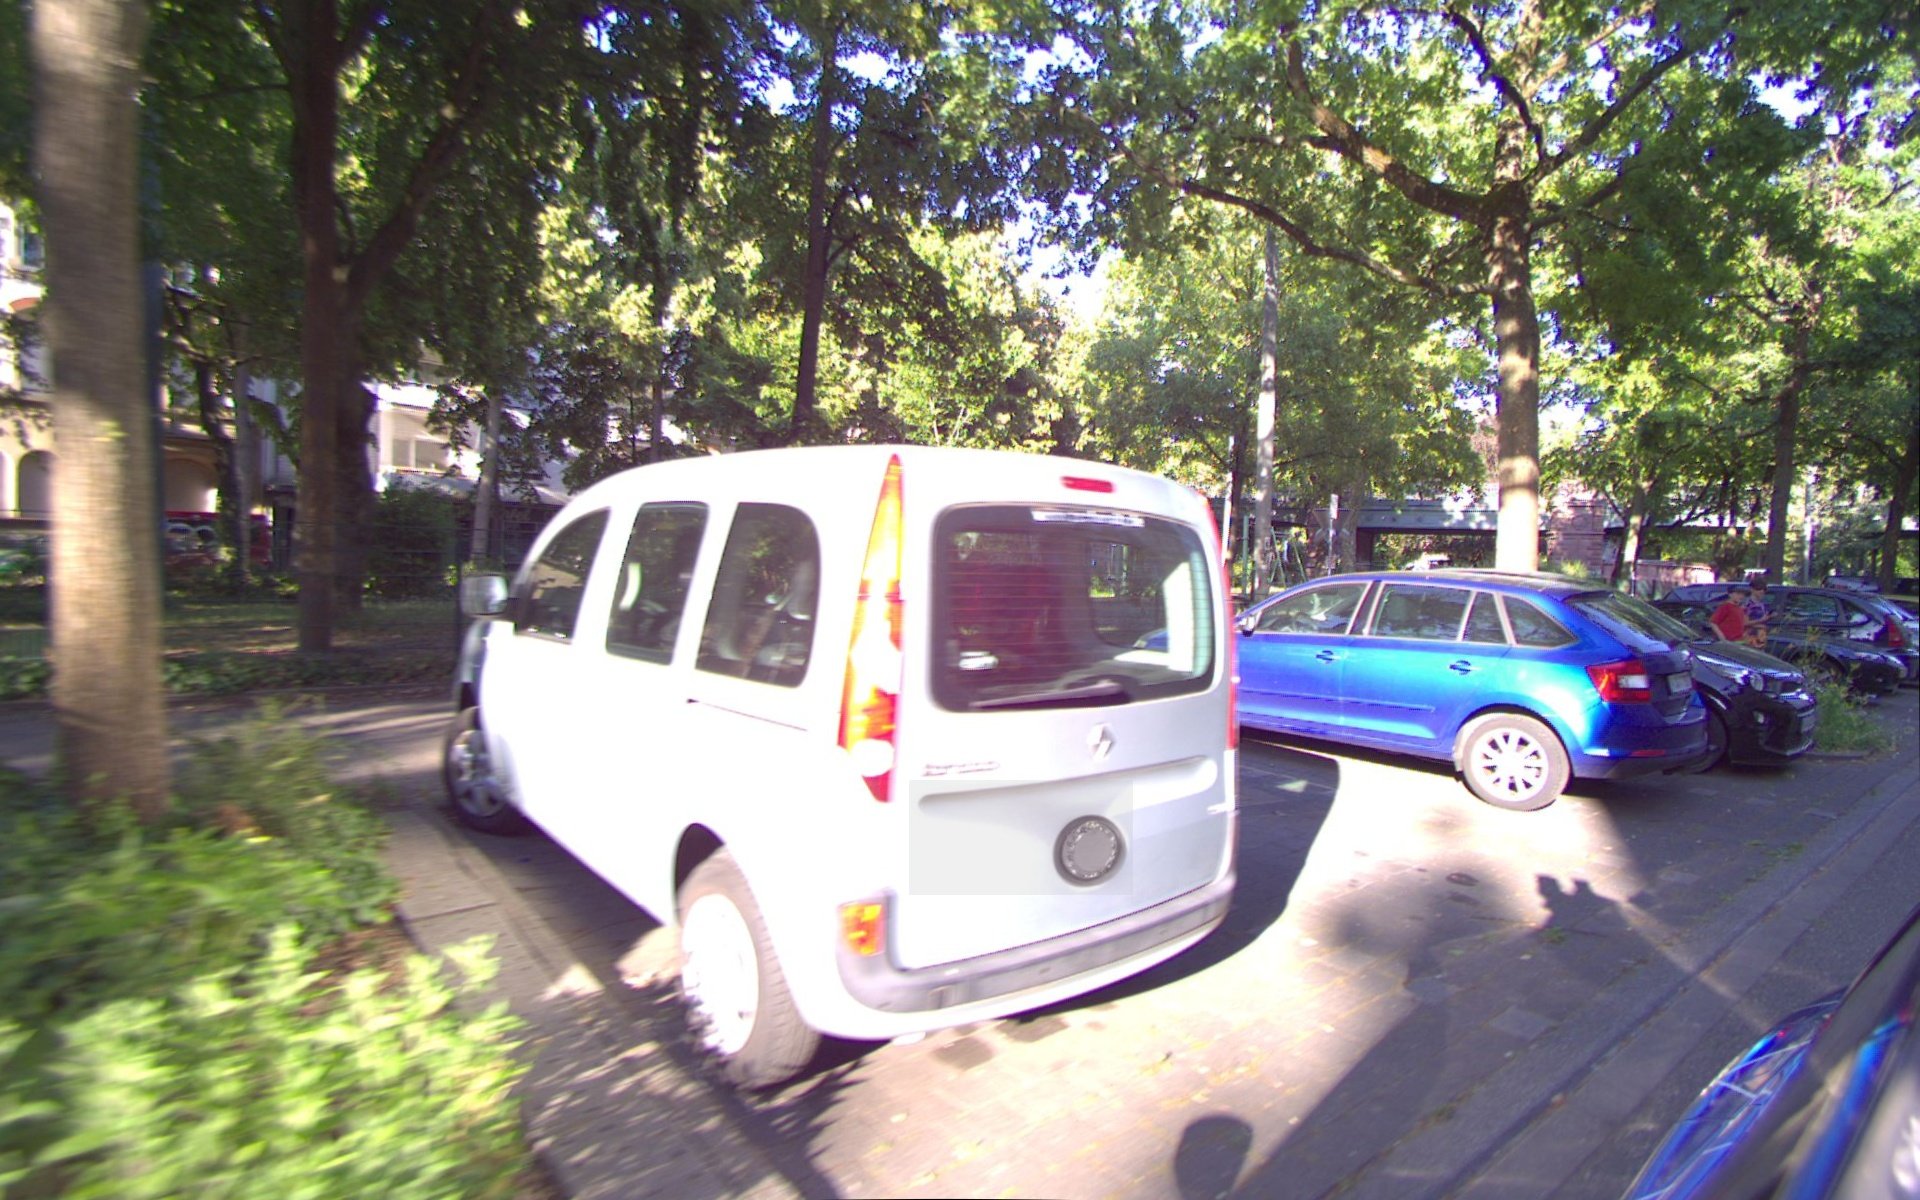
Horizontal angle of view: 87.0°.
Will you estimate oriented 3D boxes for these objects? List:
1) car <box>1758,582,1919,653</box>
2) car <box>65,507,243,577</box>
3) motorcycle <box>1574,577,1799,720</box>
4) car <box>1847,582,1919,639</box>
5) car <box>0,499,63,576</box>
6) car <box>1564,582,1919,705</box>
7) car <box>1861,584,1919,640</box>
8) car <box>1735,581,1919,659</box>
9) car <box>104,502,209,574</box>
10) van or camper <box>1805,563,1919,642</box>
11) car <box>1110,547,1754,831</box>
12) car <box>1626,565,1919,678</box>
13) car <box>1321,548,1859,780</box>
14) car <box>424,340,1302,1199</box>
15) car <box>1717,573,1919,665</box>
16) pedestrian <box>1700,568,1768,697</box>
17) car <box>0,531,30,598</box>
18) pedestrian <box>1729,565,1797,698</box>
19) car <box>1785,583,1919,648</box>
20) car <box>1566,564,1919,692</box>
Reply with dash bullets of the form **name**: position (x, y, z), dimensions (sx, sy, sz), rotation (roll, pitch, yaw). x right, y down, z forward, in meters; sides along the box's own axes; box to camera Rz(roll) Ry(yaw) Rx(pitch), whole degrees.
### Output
- **car**: position (21.769, 0.406, 23.769), dimensions (1.804, 1.457, 4.414), rotation (-1, 4, -37)
- **car**: position (-24.983, -1.773, 31.487), dimensions (1.988, 2.038, 3.950), rotation (1, 2, 35)
- **motorcycle**: position (8.443, 0.492, 11.821), dimensions (1.241, 1.480, 1.865), rotation (-2, 2, -38)
- **car**: position (28.686, 0.368, 29.206), dimensions (1.807, 1.518, 4.407), rotation (-2, 5, -42)
- **car**: position (-22.667, -1.433, 23.935), dimensions (1.965, 1.704, 3.996), rotation (-2, 3, -39)
- **car**: position (10.822, 0.490, 14.019), dimensions (1.661, 1.294, 3.852), rotation (0, 3, -40)
- **car**: position (30.322, 0.439, 30.529), dimensions (1.634, 1.596, 4.414), rotation (-2, 4, -37)
- **car**: position (19.981, 0.415, 22.172), dimensions (1.804, 1.457, 4.414), rotation (-1, 4, -37)
- **car**: position (-20.758, -1.540, 26.145), dimensions (1.965, 1.704, 3.996), rotation (-2, 3, -39)
- **van or camper**: position (26.886, 0.137, 27.676), dimensions (1.992, 2.052, 5.432), rotation (1, 3, -37)
- **car**: position (3.318, 0.416, 7.778), dimensions (1.731, 1.460, 4.090), rotation (0, 4, -42)
- **car**: position (14.324, 0.277, 17.402), dimensions (1.804, 1.610, 4.412), rotation (-1, 4, -38)
- **car**: position (5.415, 0.377, 9.104), dimensions (1.729, 1.519, 3.686), rotation (0, 4, -38)
- **car**: position (-0.924, 0.235, 4.385), dimensions (1.729, 1.886, 4.233), rotation (0, 4, -38)
- **car**: position (18.081, 0.344, 20.214), dimensions (1.805, 1.610, 4.410), rotation (-1, 4, -40)
- **pedestrian**: position (9.432, 0.390, 12.333), dimensions (0.508, 1.536, 0.382), rotation (3, 0, -20)
- **car**: position (-28.505, -0.942, 27.328), dimensions (1.988, 1.849, 4.679), rotation (1, 3, 36)
- **pedestrian**: position (9.922, 0.383, 12.502), dimensions (0.508, 1.605, 0.382), rotation (3, 0, -20)
- **car**: position (23.614, 0.406, 25.234), dimensions (1.805, 1.457, 4.410), rotation (-1, 4, -40)
- **car**: position (12.272, 0.315, 15.876), dimensions (1.807, 1.610, 4.405), rotation (-1, 4, -44)
